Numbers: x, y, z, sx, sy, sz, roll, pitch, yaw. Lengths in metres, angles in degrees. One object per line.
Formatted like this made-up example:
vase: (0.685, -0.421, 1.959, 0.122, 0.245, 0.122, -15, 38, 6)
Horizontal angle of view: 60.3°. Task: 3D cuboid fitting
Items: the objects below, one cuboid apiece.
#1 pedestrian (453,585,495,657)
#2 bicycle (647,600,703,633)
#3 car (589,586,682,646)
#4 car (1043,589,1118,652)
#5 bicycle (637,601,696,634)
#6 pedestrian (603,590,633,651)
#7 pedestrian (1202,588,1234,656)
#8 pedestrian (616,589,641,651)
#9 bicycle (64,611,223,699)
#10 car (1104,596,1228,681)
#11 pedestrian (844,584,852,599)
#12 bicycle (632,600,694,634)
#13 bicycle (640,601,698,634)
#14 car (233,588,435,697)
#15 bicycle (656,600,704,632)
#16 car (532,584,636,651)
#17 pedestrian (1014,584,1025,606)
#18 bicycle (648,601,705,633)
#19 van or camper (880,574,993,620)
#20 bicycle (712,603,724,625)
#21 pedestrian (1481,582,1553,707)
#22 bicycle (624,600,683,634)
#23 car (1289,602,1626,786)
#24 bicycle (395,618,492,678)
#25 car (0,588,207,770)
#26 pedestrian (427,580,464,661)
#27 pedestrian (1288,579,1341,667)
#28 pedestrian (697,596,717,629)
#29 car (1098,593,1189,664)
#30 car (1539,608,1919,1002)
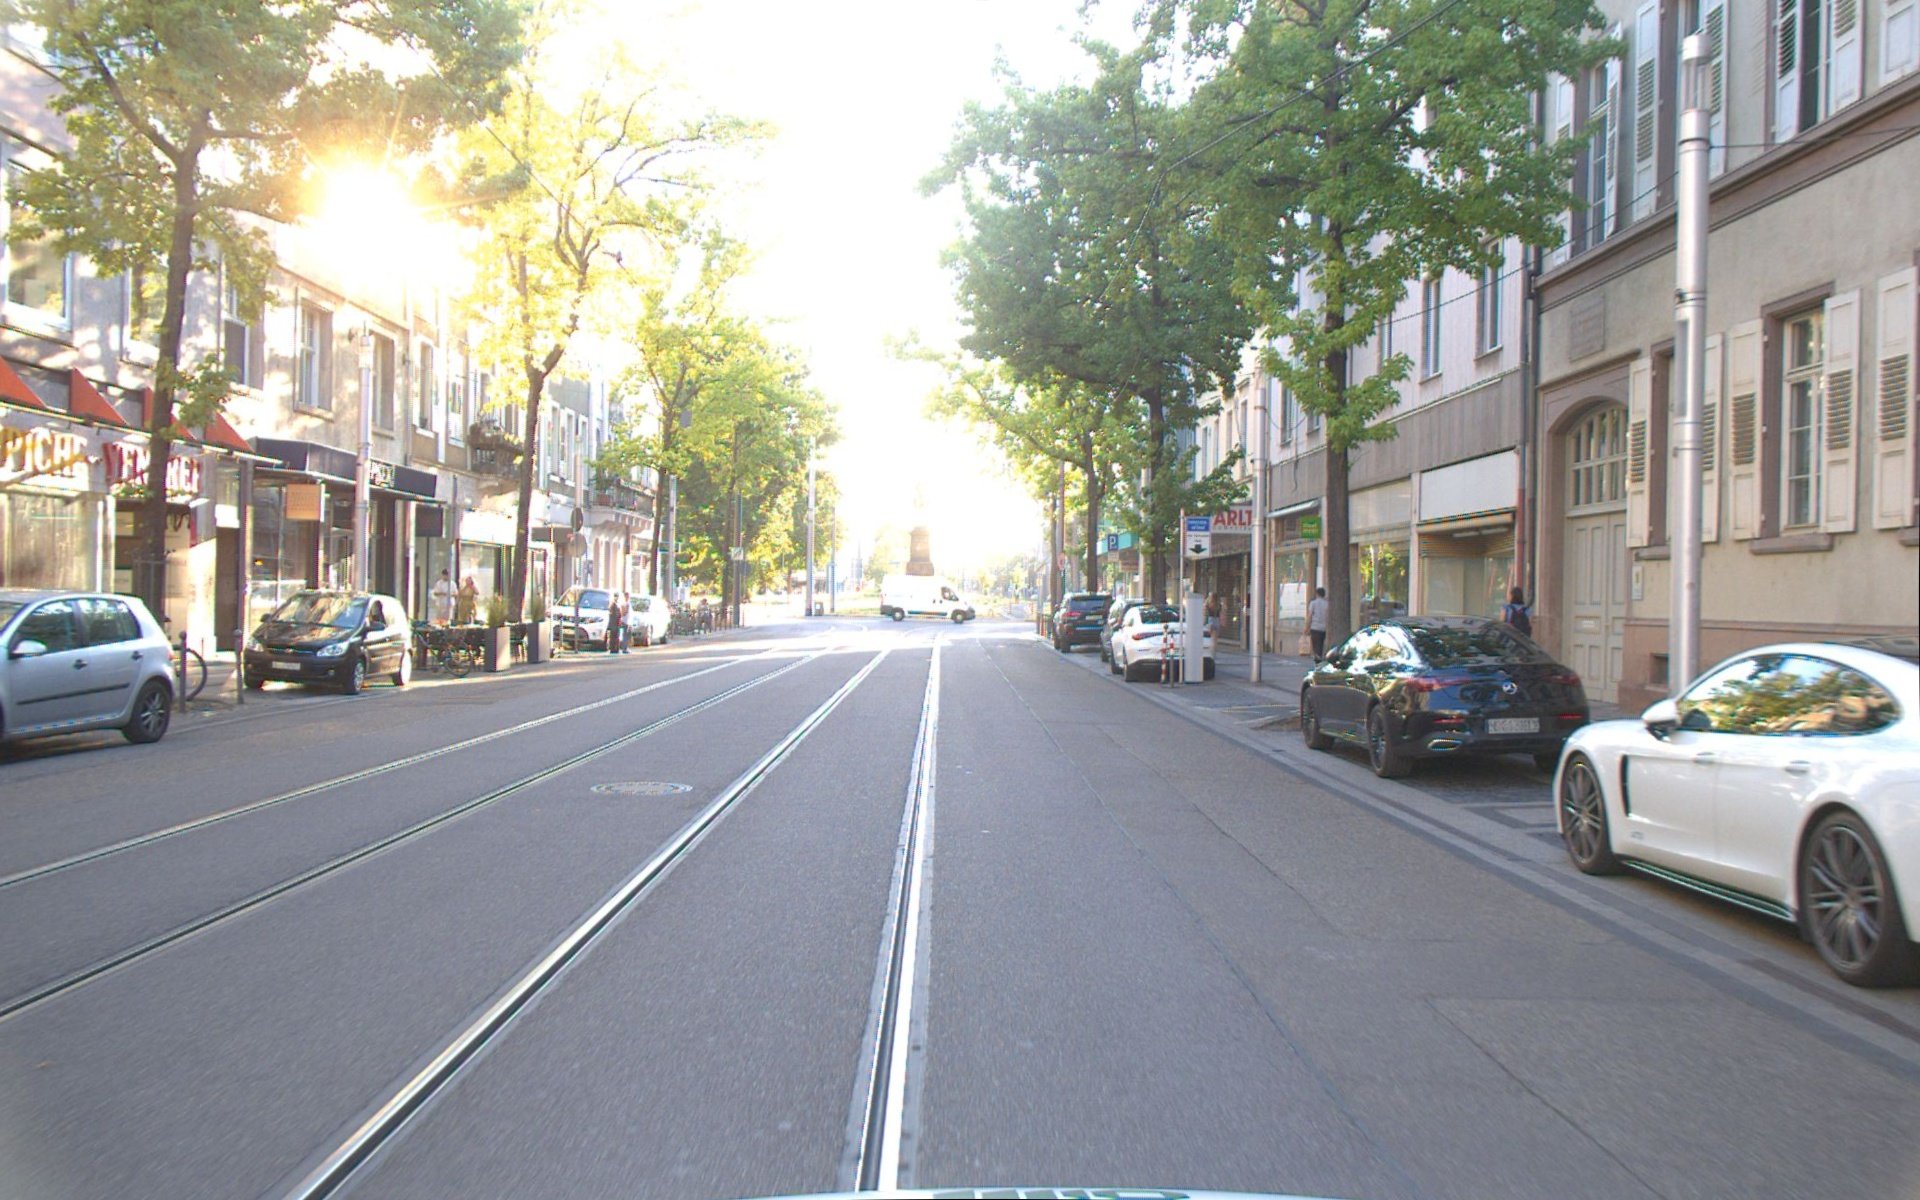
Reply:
pedestrian: (-12.321, 0.533, 41.961, 0.707, 1.791, 1.090, 1, 0, -1)
bicycle: (-10.710, 0.623, 62.143, 1.982, 1.124, 0.501, 3, -1, 2)
car: (-9.836, 0.448, 50.454, 1.799, 1.607, 4.702, 4, 0, 0)
car: (3.724, 0.596, 51.832, 1.899, 1.790, 4.679, -3, 0, -1)
bicycle: (-10.642, 0.632, 60.035, 1.998, 1.124, 0.497, 3, -1, -26)
pedestrian: (-8.723, 0.533, 42.172, 0.607, 1.536, 0.729, 0, -1, 0)
pedestrian: (6.620, 0.551, 42.408, 0.630, 1.699, 0.786, -2, 0, -1)
pedestrian: (-8.617, 0.507, 42.992, 0.510, 1.596, 0.633, 0, -1, 0)
bicycle: (-10.613, 0.717, 21.531, 1.776, 1.083, 0.440, 2, 0, -9)
car: (4.180, 0.736, 34.259, 1.953, 1.524, 4.679, -2, 0, 0)
pedestrian: (-12.299, -0.884, 181.793, 0.754, 1.634, 0.637, 1, 0, -7)
bicycle: (-10.668, 0.601, 59.453, 2.082, 1.124, 0.497, 3, -1, -26)
bicycle: (-10.673, 0.633, 60.678, 1.998, 1.124, 0.497, 3, -1, -26)
car: (-9.530, 0.602, 25.485, 1.632, 1.453, 3.826, 4, 0, -1)
bicycle: (-10.673, 0.614, 63.015, 1.989, 1.124, 0.499, 2, -1, 34)
car: (-10.189, 0.440, 45.123, 1.799, 1.607, 4.116, 4, 0, 0)
pedestrian: (4.426, -0.361, 122.381, 0.623, 1.634, 0.772, 1, 0, 19)
bicycle: (-10.546, 0.631, 61.560, 1.982, 1.124, 0.501, 3, -1, 2)
van or camper: (-1.304, -0.179, 92.496, 6.171, 2.515, 2.615, 1, 0, -1)
bicycle: (-10.795, 0.627, 73.743, 0.329, 0.962, 1.510, 1, 0, 0)
pedestrian: (7.818, 0.611, 23.244, 0.644, 1.694, 0.888, -2, 0, -2)
bicycle: (-10.845, 0.595, 58.503, 1.921, 1.124, 0.563, 3, -1, -26)
car: (4.707, 0.800, 16.438, 1.796, 1.504, 4.760, -1, 0, -1)
bicycle: (-9.298, 0.861, 29.797, 1.582, 0.982, 0.433, 3, 0, 5)
car: (-8.796, 0.648, 14.916, 1.729, 1.523, 4.177, 1, 0, 6)
pedestrian: (-13.115, 0.525, 42.173, 0.707, 2.049, 0.642, 1, 0, -1)
pedestrian: (7.483, 0.477, 34.921, 0.840, 1.783, 0.932, -2, 0, -1)
pedestrian: (-10.478, 0.507, 68.442, 0.713, 1.313, 0.856, 2, 0, -3)
car: (4.620, 0.682, 42.058, 1.740, 1.618, 3.891, -3, 0, -1)
car: (4.679, 0.818, 8.176, 1.873, 1.445, 4.887, -2, 0, 0)
